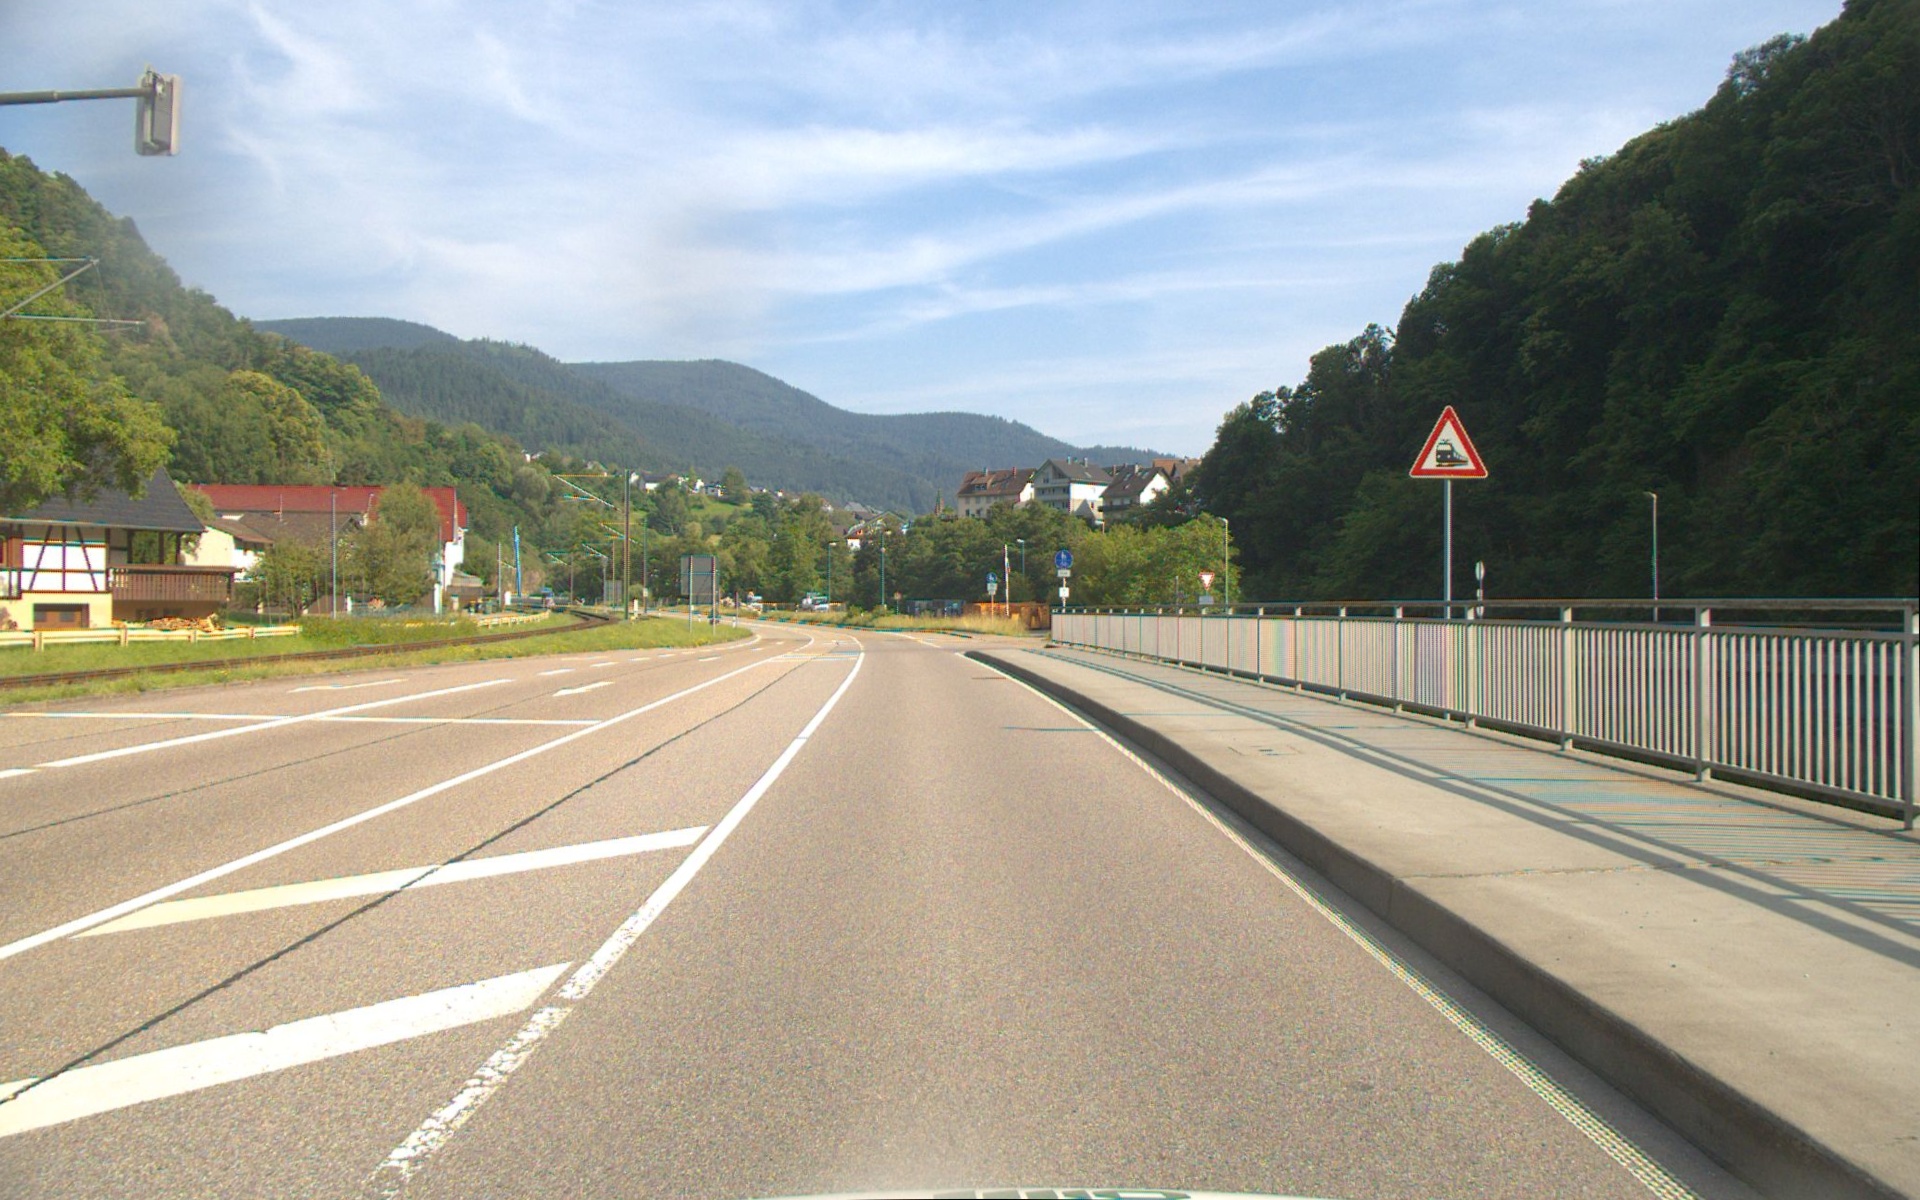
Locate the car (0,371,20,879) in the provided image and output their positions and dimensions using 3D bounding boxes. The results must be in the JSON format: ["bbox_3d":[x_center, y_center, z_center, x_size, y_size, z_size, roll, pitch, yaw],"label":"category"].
[{"bbox_3d":[-5.656,0.120,5.544,2.076,2.479,5.226,1,0,-1],"label":"car"}]

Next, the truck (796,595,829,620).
[{"bbox_3d":[-22.764,1.150,254.546,3.057,3.848,8.595,1,0,-20],"label":"truck"}]
